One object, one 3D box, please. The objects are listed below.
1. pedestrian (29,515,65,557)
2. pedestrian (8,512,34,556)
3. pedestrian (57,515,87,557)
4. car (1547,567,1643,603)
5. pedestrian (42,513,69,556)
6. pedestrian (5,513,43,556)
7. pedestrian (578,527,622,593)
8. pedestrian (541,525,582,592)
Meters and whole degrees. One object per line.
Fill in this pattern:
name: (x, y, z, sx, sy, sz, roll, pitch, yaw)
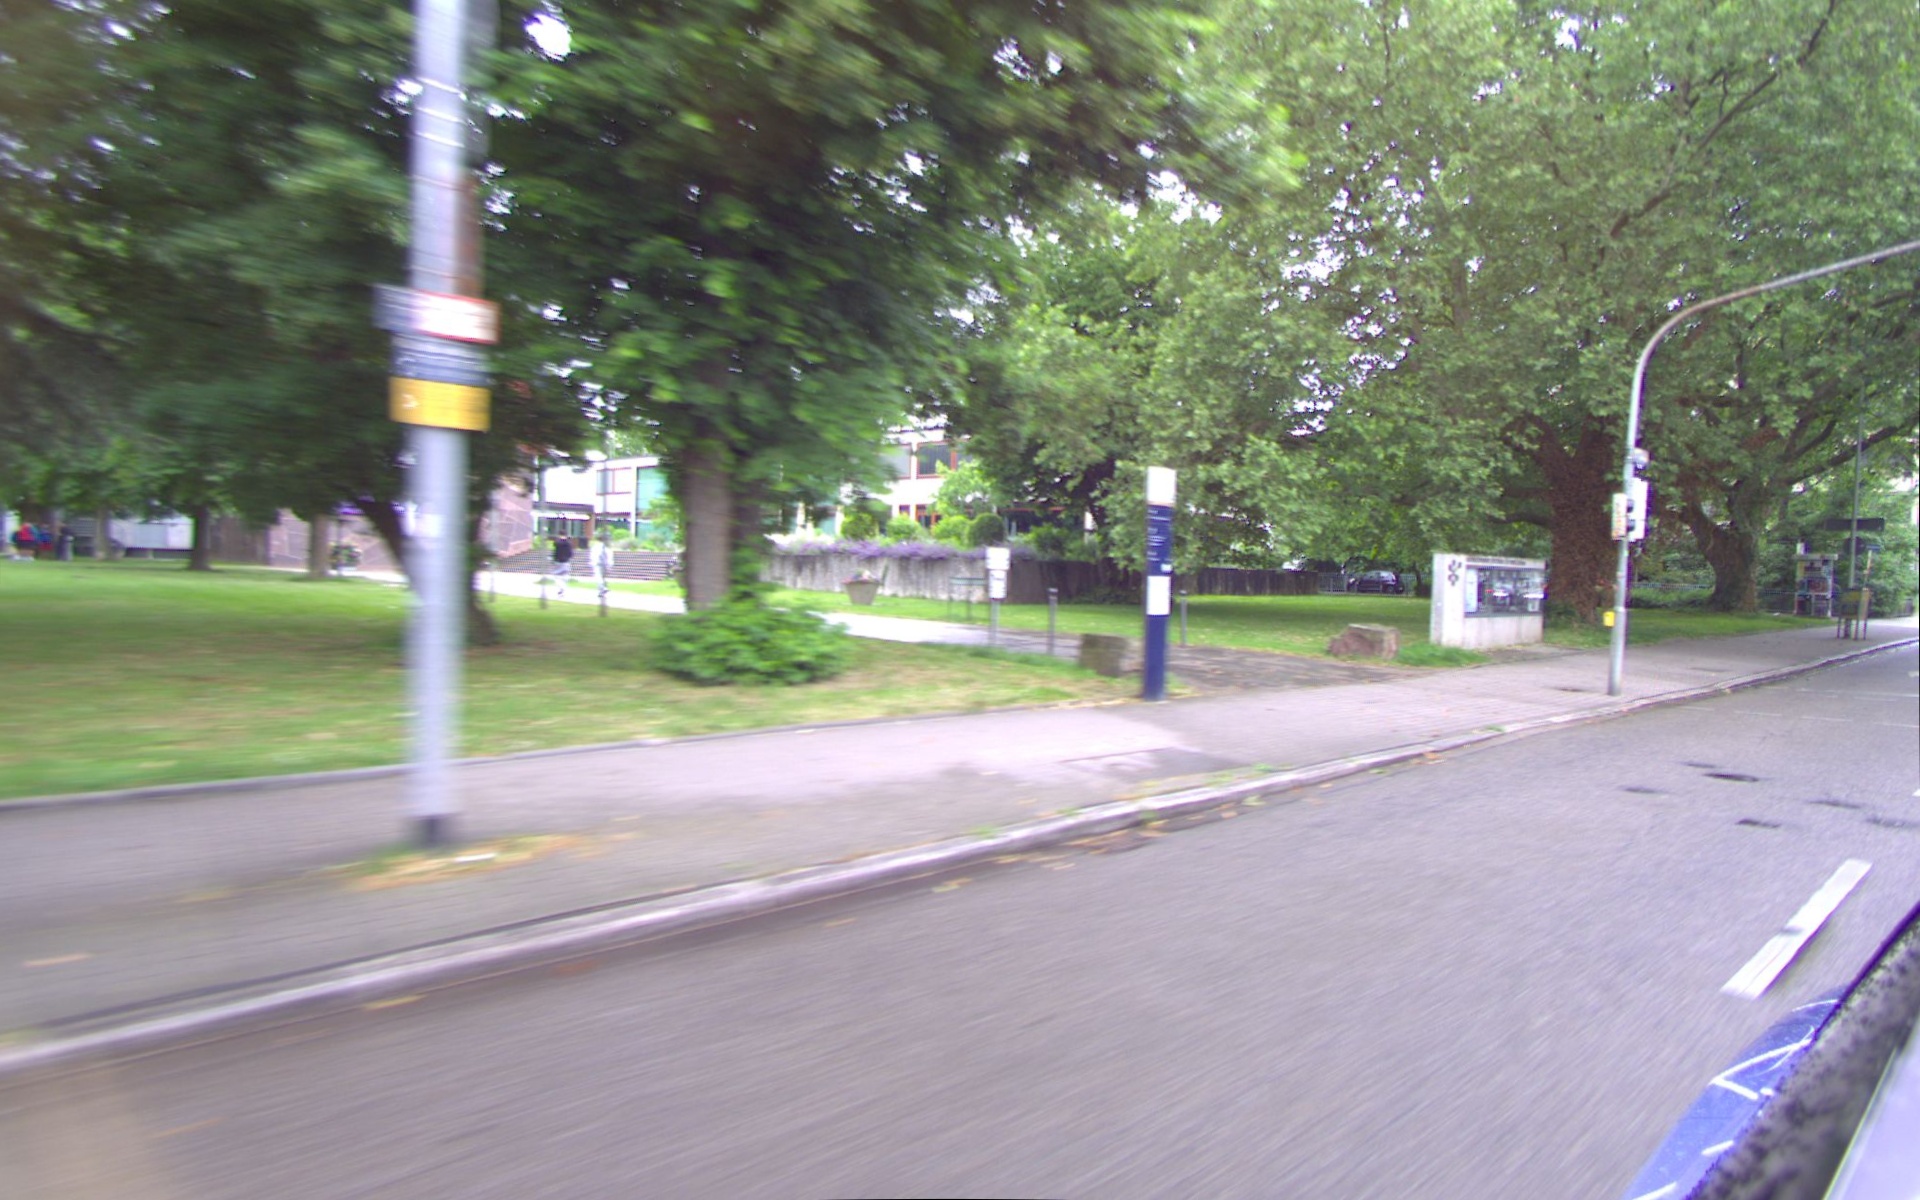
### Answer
pedestrian: (-39.776, -2.785, 44.081, 0.829, 1.785, 0.854, 0, 0, 16)
pedestrian: (-39.135, -2.749, 42.170, 0.838, 1.785, 0.760, 0, 0, 44)
pedestrian: (-38.813, -2.800, 44.225, 0.767, 1.785, 0.829, 0, 0, 37)
car: (34.605, -0.855, 55.210, 1.966, 1.737, 3.993, 0, 3, -43)
pedestrian: (-38.541, -2.785, 43.120, 0.844, 1.785, 0.838, 0, 0, -45)
pedestrian: (-39.867, -2.775, 43.124, 0.825, 1.785, 0.858, 0, 0, 1)
pedestrian: (-9.965, -1.078, 27.982, 0.838, 1.785, 0.865, 0, 0, 44)
pedestrian: (-10.893, -1.115, 27.680, 0.838, 1.785, 0.760, 0, 0, 44)
